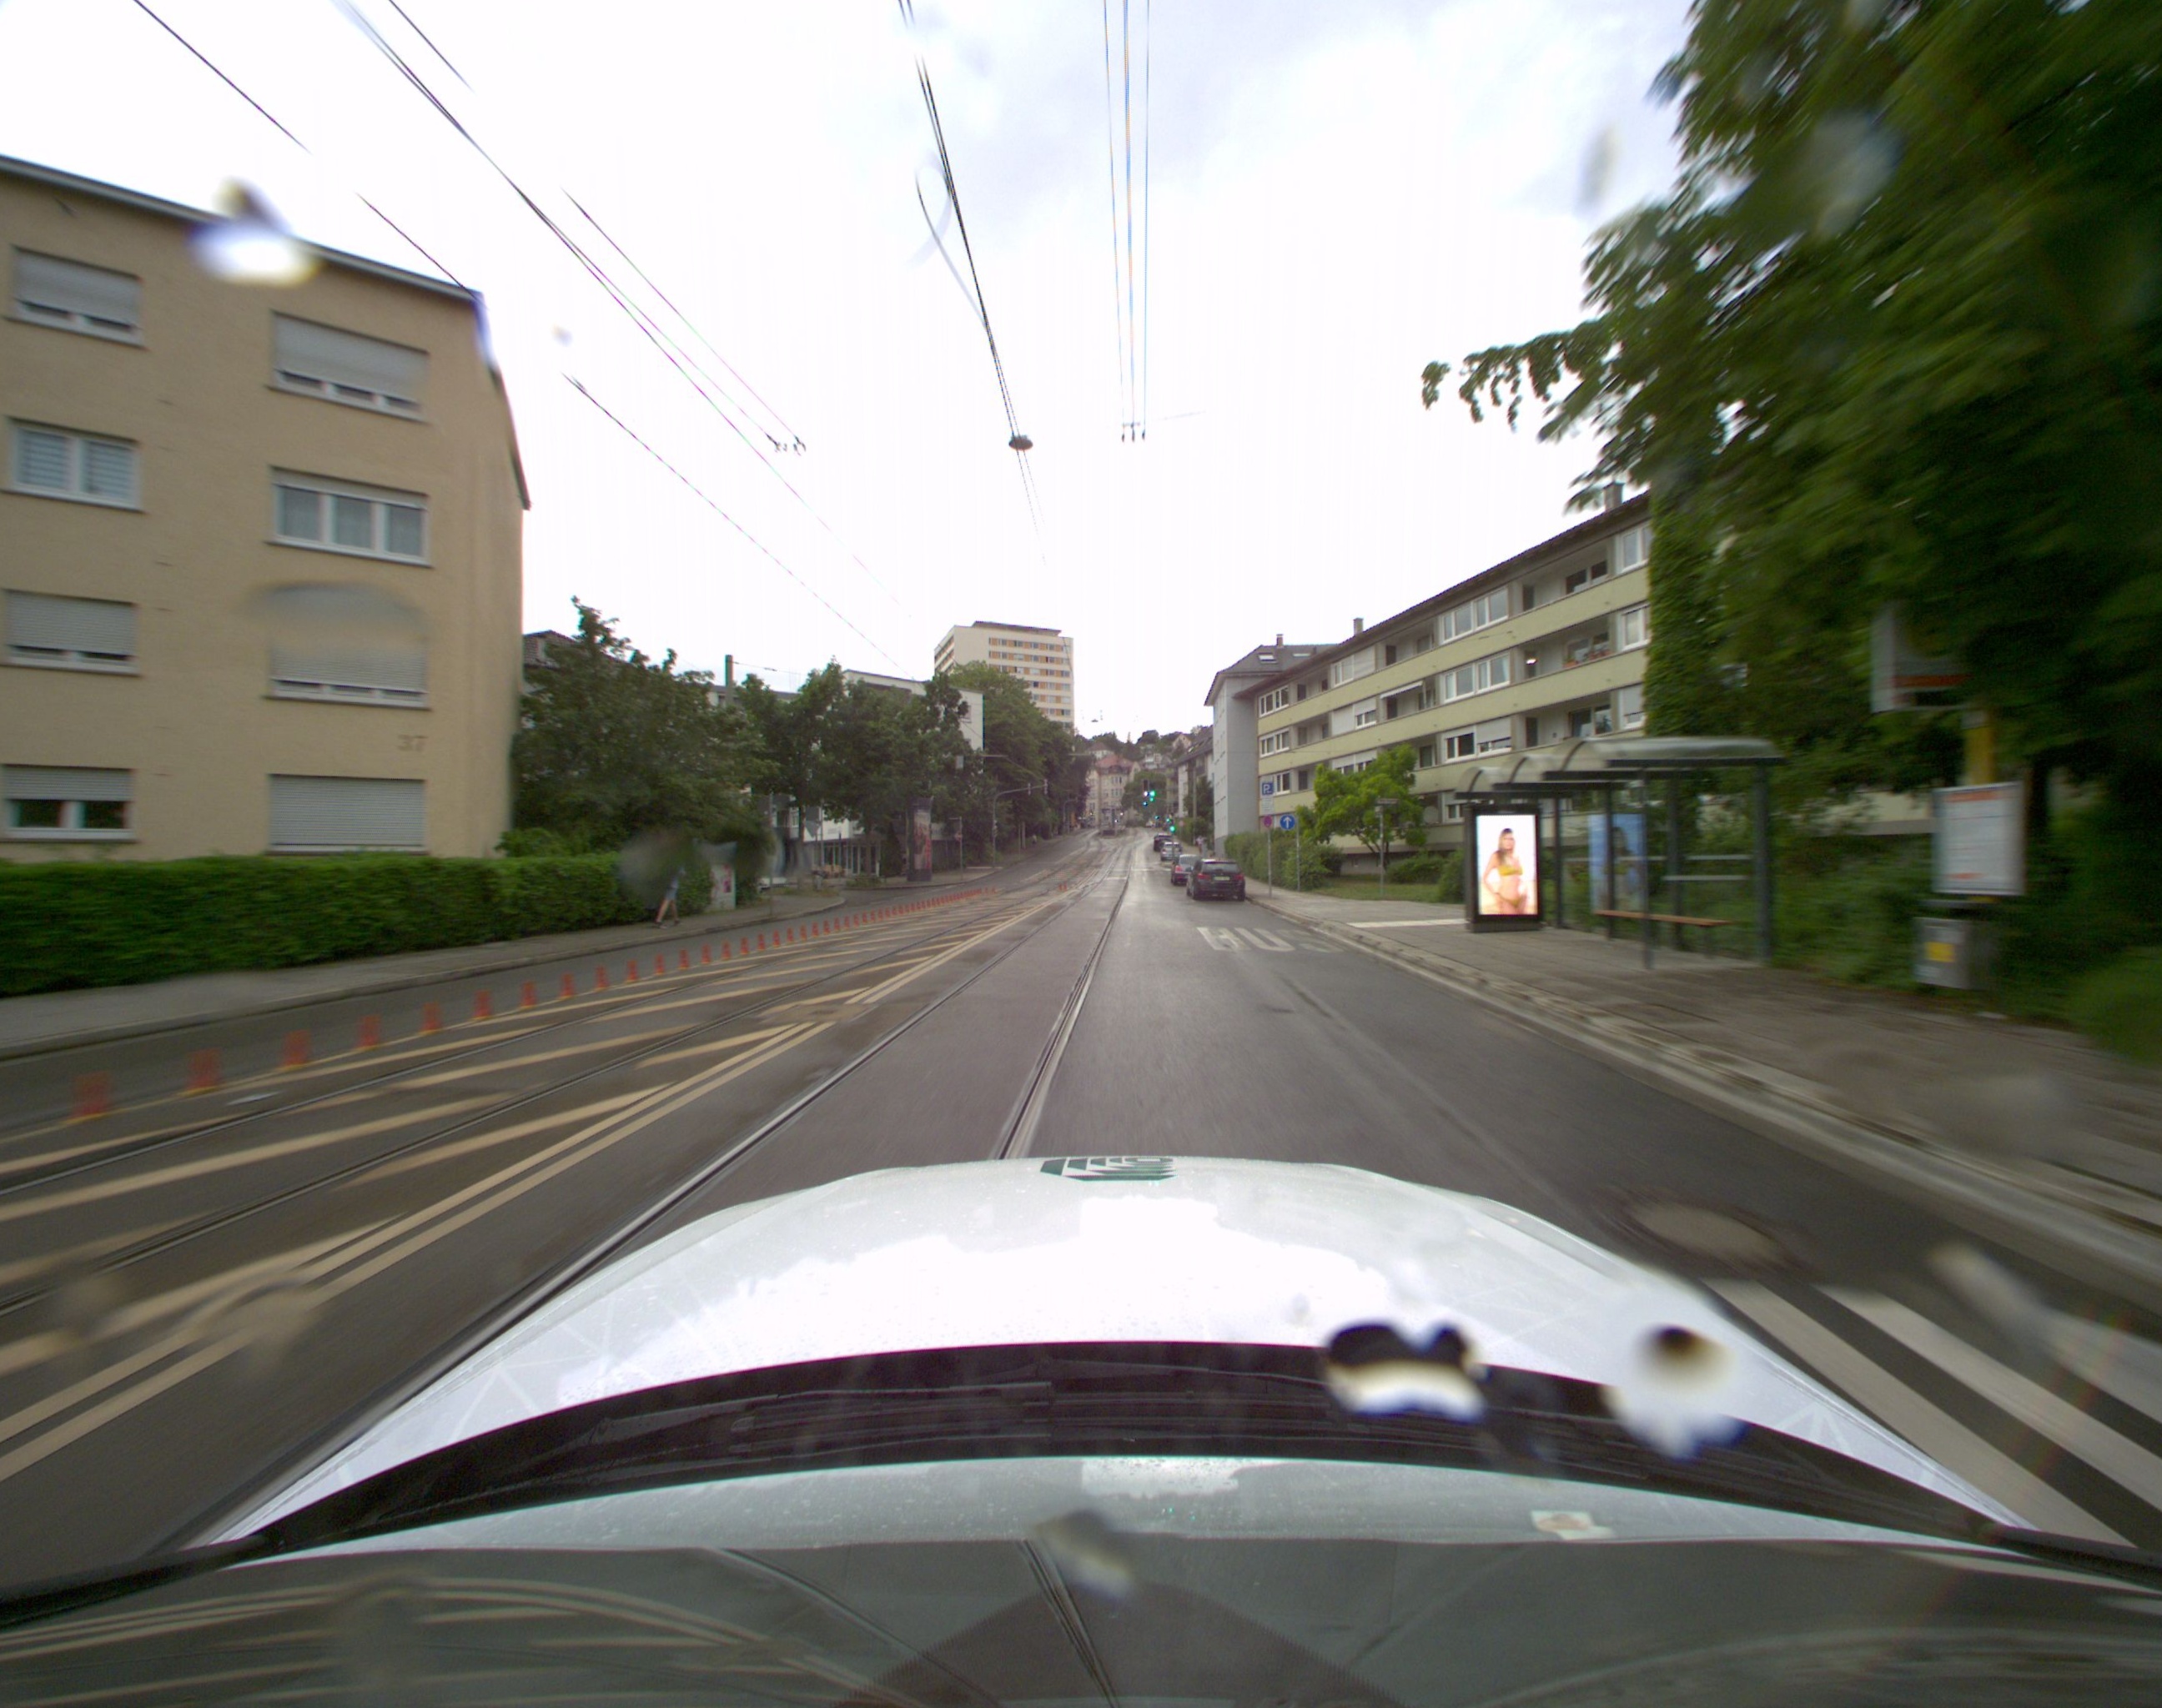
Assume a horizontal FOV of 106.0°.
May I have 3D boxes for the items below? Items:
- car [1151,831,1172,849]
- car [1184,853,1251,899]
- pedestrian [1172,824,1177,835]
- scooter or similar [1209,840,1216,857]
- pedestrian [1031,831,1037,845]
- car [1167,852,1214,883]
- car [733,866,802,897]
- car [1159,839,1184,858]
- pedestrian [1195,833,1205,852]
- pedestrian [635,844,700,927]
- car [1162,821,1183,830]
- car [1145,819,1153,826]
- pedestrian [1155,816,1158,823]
[{"bbox_3d":[8.027,-1.447,81.609,1.898,1.641,4.694,1,2,3],"label":"car"},{"bbox_3d":[4.812,0.719,29.328,1.850,1.487,4.648,0,0,3],"label":"car"},{"bbox_3d":[13.296,-3.463,115.473,0.641,1.628,0.700,0,1,6],"label":"pedestrian"},{"bbox_3d":[10.670,-0.463,66.100,0.571,1.249,1.615,0,5,9],"label":"scooter or similar"},{"bbox_3d":[-5.423,-1.852,93.031,0.581,1.600,0.869,2,2,0],"label":"pedestrian"},{"bbox_3d":[5.435,0.639,40.786,1.932,1.464,4.208,0,0,2],"label":"car"},{"bbox_3d":[-15.932,1.339,41.308,2.010,1.481,4.111,1,-1,-40],"label":"car"},{"bbox_3d":[7.266,-0.473,65.688,1.697,1.433,4.106,1,2,3],"label":"car"},{"bbox_3d":[10.562,-1.021,72.240,0.878,1.582,0.803,-2,4,6],"label":"pedestrian"},{"bbox_3d":[-9.499,0.705,18.747,0.916,1.846,1.016,1,-1,-2],"label":"pedestrian"},{"bbox_3d":[17.832,-5.607,158.230,3.970,1.645,1.809,0,0,3],"label":"car"},{"bbox_3d":[17.446,-8.108,208.516,1.898,1.641,4.694,1,2,3],"label":"car"},{"bbox_3d":[17.194,-7.860,184.863,0.577,1.467,0.543,1,-1,-4],"label":"pedestrian"}]
